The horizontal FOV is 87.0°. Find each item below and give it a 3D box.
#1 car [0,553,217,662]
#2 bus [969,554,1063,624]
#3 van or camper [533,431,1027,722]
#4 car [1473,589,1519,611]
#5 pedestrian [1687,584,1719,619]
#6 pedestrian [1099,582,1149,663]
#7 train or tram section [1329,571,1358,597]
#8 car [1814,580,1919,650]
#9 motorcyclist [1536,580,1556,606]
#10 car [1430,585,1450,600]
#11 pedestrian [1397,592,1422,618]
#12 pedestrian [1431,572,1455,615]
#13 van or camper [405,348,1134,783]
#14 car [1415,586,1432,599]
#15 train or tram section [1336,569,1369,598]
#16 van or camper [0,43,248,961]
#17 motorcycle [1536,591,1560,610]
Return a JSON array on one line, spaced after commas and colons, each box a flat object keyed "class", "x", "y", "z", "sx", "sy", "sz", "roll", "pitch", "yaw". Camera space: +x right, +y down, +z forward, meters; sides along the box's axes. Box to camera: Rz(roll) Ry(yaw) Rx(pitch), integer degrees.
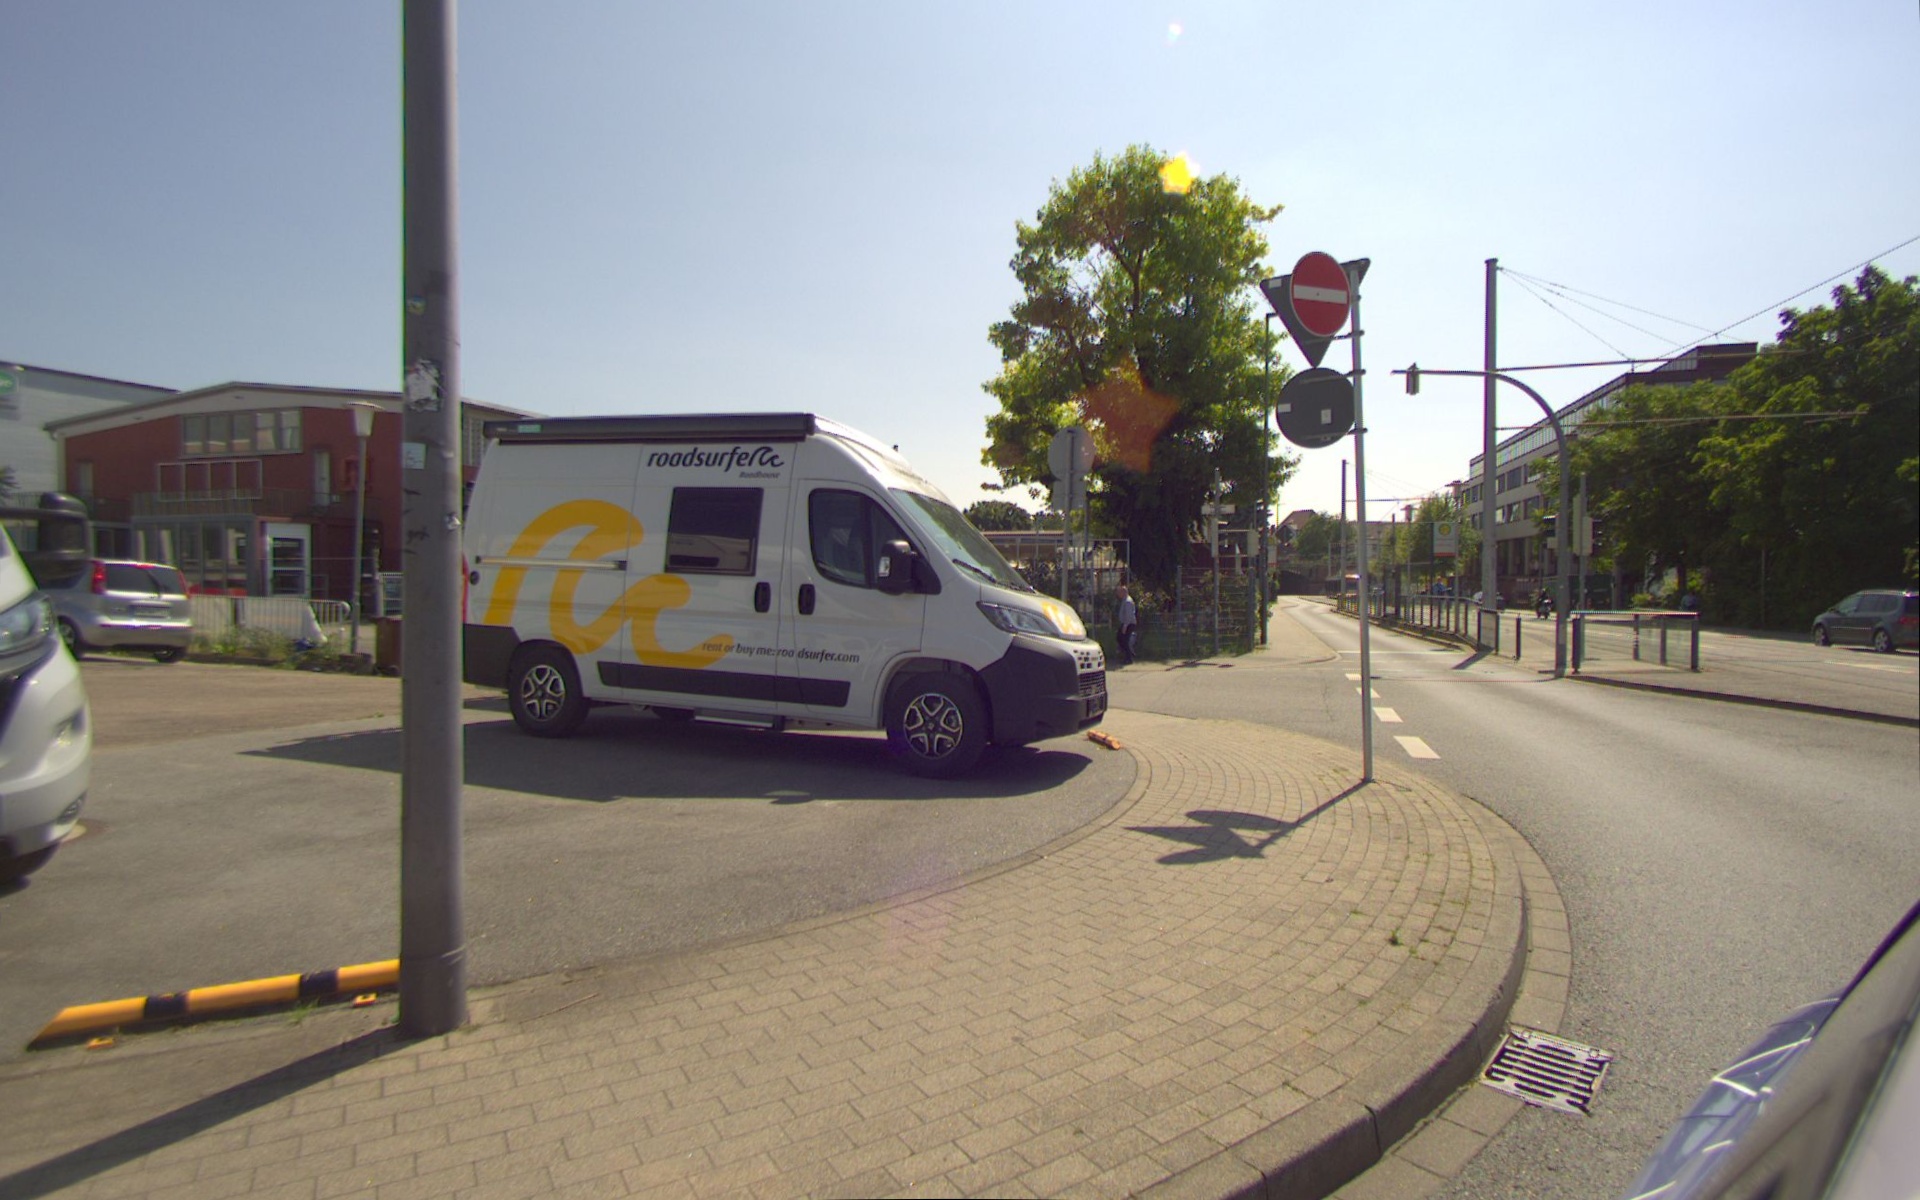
[{"class": "car", "x": -13.820, "y": 0.109, "z": 15.552, "sx": 3.838, "sy": 1.535, "sz": 1.808, "roll": 1, "pitch": -2, "yaw": 14}, {"class": "bus", "x": 3.104, "y": -0.734, "z": 52.286, "sx": 2.539, "sy": 3.209, "sz": 10.217, "roll": 0, "pitch": 3, "yaw": 17}, {"class": "van or camper", "x": -2.112, "y": -0.218, "z": 11.875, "sx": 5.458, "sy": 2.851, "sz": 2.033, "roll": 0, "pitch": -2, "yaw": 21}, {"class": "car", "x": 37.859, "y": -0.025, "z": 71.606, "sx": 1.887, "sy": 1.460, "sz": 4.572, "roll": 2, "pitch": 1, "yaw": 16}, {"class": "pedestrian", "x": 33.552, "y": 0.057, "z": 45.711, "sx": 0.861, "sy": 1.546, "sz": 0.842, "roll": 1, "pitch": 1, "yaw": 16}, {"class": "pedestrian", "x": 3.565, "y": 0.476, "z": 22.036, "sx": 0.869, "sy": 1.720, "sz": 0.816, "roll": 1, "pitch": 1, "yaw": -5}, {"class": "train or tram section", "x": 54.337, "y": -2.282, "z": 143.734, "sx": 2.645, "sy": 3.528, "sz": 13.324, "roll": 1, "pitch": 1, "yaw": 16}, {"class": "car", "x": 24.706, "y": 0.381, "z": 26.358, "sx": 1.903, "sy": 1.602, "sz": 4.178, "roll": 3, "pitch": 3, "yaw": 12}, {"class": "motorcyclist", "x": 33.107, "y": -0.407, "z": 57.198, "sx": 0.827, "sy": 1.494, "sz": 0.957, "roll": 0, "pitch": 0, "yaw": 19}, {"class": "car", "x": 58.227, "y": -0.923, "z": 122.885, "sx": 1.978, "sy": 1.643, "sz": 3.968, "roll": 1, "pitch": 1, "yaw": 23}, {"class": "pedestrian", "x": 19.919, "y": 0.225, "z": 44.860, "sx": 0.933, "sy": 1.113, "sz": 0.722, "roll": 1, "pitch": 1, "yaw": 16}, {"class": "pedestrian", "x": 19.616, "y": -0.268, "z": 41.105, "sx": 0.716, "sy": 1.746, "sz": 0.939, "roll": -1, "pitch": 0, "yaw": 17}, {"class": "van or camper", "x": -1.604, "y": -0.282, "z": 8.514, "sx": 5.757, "sy": 2.809, "sz": 2.077, "roll": 1, "pitch": 0, "yaw": 20}, {"class": "car", "x": 59.592, "y": -0.972, "z": 130.290, "sx": 1.852, "sy": 1.638, "sz": 3.968, "roll": 1, "pitch": 1, "yaw": 23}, {"class": "train or tram section", "x": 50.894, "y": -2.127, "z": 131.475, "sx": 2.645, "sy": 3.528, "sz": 12.267, "roll": 1, "pitch": 1, "yaw": 16}, {"class": "van or camper", "x": -6.550, "y": -0.431, "z": 4.029, "sx": 6.990, "sy": 2.982, "sz": 2.322, "roll": 2, "pitch": 2, "yaw": 18}, {"class": "motorcycle", "x": 32.993, "y": 0.019, "z": 56.809, "sx": 0.814, "sy": 1.024, "sz": 1.952, "roll": 0, "pitch": 1, "yaw": 19}]
